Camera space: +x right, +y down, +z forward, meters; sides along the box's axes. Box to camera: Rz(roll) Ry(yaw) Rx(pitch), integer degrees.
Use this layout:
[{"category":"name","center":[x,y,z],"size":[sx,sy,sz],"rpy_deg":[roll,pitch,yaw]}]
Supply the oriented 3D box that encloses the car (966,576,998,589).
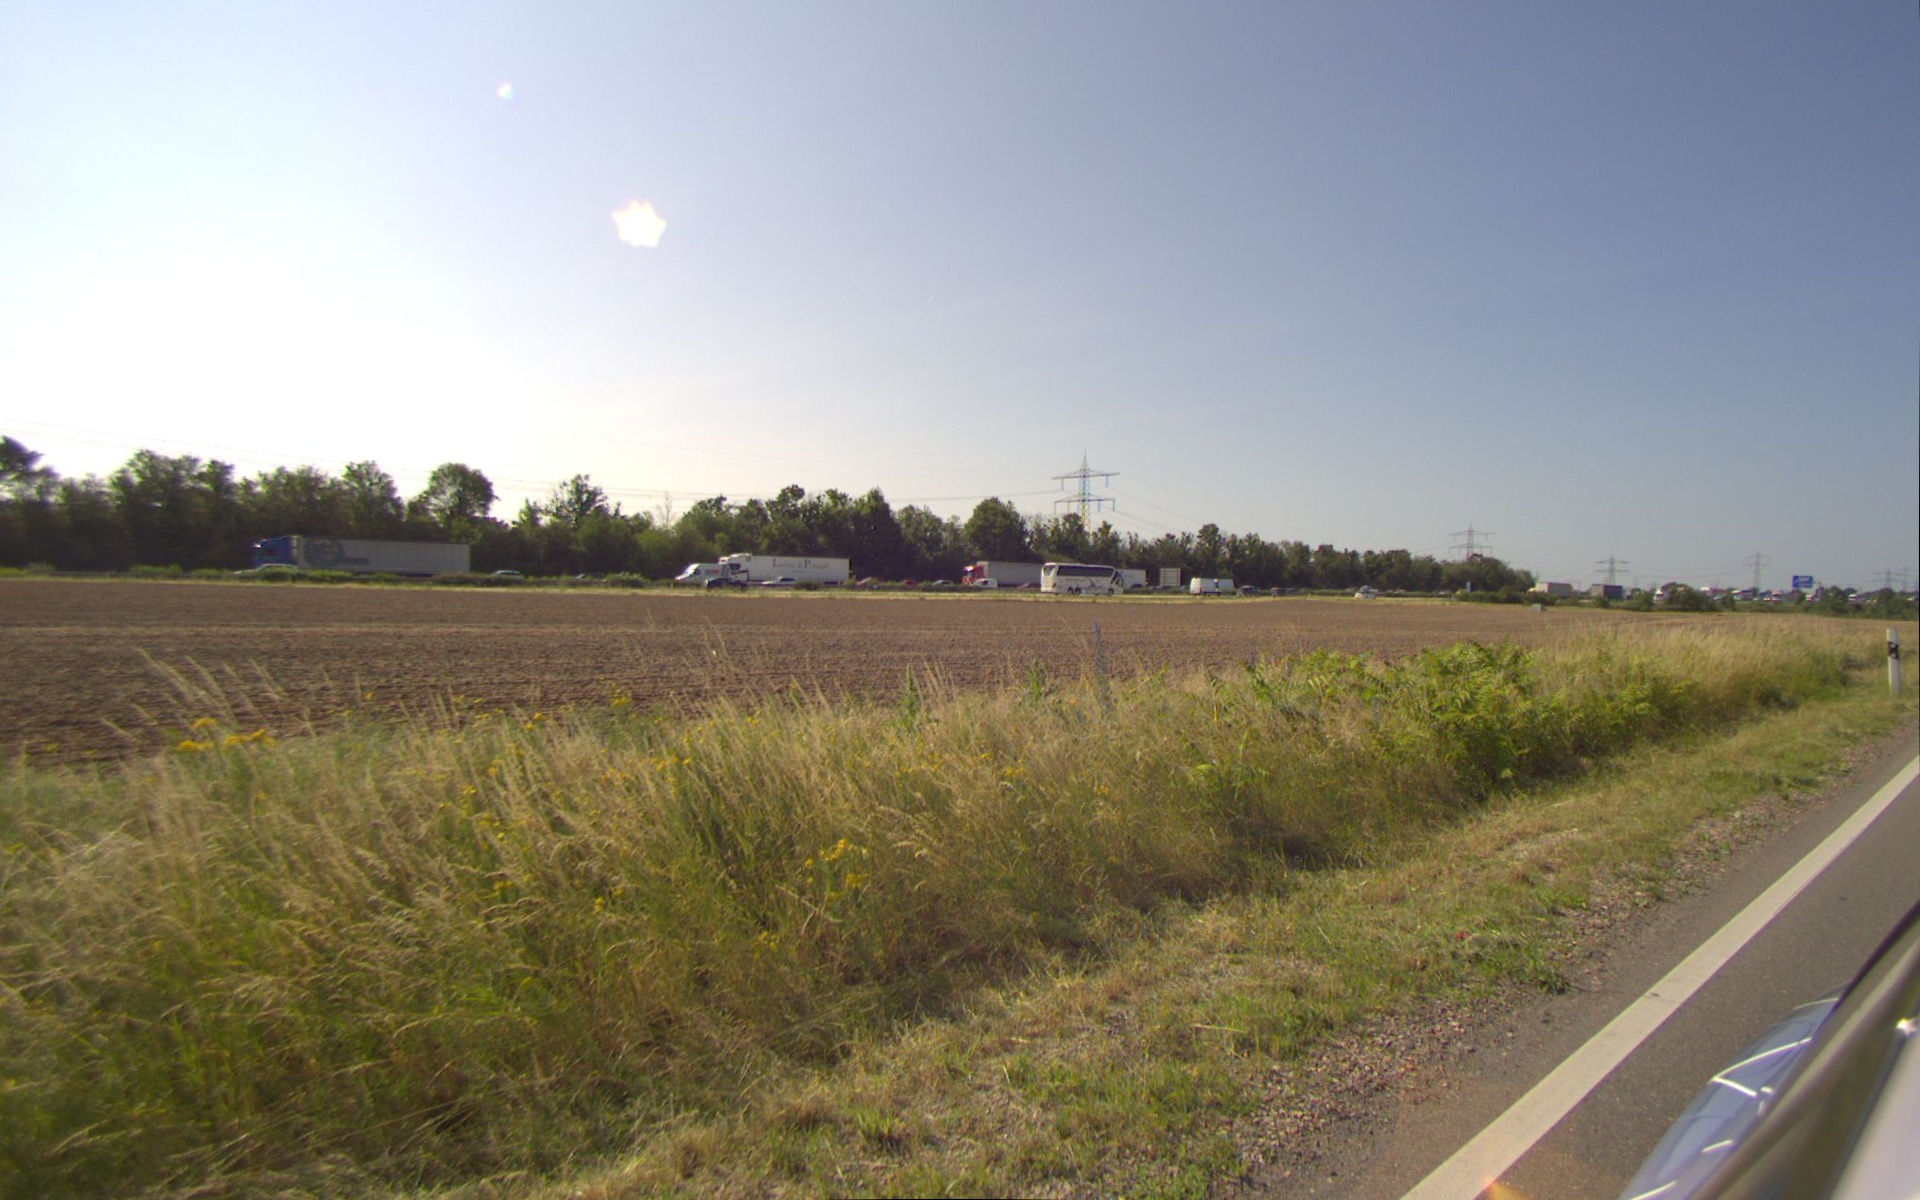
[{"category":"car","center":[2.763,-2.212,128.962],"size":[4.023,1.659,1.705],"rpy_deg":[0,0,-42]}]

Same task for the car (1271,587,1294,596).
[{"category":"car","center":[51.515,-1.319,161.486],"size":[4.022,1.391,1.706],"rpy_deg":[0,0,-41]}]

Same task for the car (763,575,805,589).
[{"category":"car","center":[-19.160,-1.995,110.540],"size":[4.174,1.403,1.853],"rpy_deg":[1,0,-42]}]

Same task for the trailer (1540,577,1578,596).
[{"category":"trailer","center":[133.389,-2.990,225.338],"size":[13.477,3.897,3.109],"rpy_deg":[0,1,-41]}]

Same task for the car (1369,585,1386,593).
[{"category":"car","center":[85.818,-2.314,207.891],"size":[4.023,1.528,1.705],"rpy_deg":[0,0,-41]}]

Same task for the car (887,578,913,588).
[{"category":"car","center":[-7.567,-2.148,128.284],"size":[3.235,1.234,1.342],"rpy_deg":[0,0,-42]}]

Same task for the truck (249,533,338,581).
[{"category":"truck","center":[-56.249,-3.555,85.412],"size":[5.978,3.780,3.078],"rpy_deg":[0,1,-40]}]

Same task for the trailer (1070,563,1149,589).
[{"category":"trailer","center":[23.019,-3.583,154.968],"size":[14.822,3.575,3.208],"rpy_deg":[0,2,-42]}]

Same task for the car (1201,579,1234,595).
[{"category":"car","center":[42.054,-2.094,165.116],"size":[6.300,2.478,2.041],"rpy_deg":[0,0,-41]}]

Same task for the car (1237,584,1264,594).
[{"category":"car","center":[42.399,-1.587,147.599],"size":[4.136,1.492,1.706],"rpy_deg":[0,0,-41]}]

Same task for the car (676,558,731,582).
[{"category":"car","center":[-26.136,-3.010,103.180],"size":[5.146,2.228,1.908],"rpy_deg":[1,-1,-42]}]

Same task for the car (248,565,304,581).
[{"category":"car","center":[-53.167,-2.071,78.702],"size":[3.518,1.166,1.397],"rpy_deg":[1,0,-41]}]

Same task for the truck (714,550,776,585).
[{"category":"truck","center":[-24.073,-3.601,113.386],"size":[6.009,3.780,3.078],"rpy_deg":[0,1,-40]}]

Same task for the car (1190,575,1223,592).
[{"category":"car","center":[36.086,-2.361,147.976],"size":[5.425,2.402,1.996],"rpy_deg":[0,0,-41]}]

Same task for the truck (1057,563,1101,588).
[{"category":"truck","center":[17.724,-3.605,150.243],"size":[6.003,3.575,3.208],"rpy_deg":[0,2,-42]}]

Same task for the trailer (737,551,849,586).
[{"category":"trailer","center":[-19.196,-3.592,117.578],"size":[13.129,3.780,3.078],"rpy_deg":[0,1,-40]}]

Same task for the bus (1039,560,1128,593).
[{"category":"bus","center":[15.898,-2.895,128.701],"size":[14.298,3.851,2.466],"rpy_deg":[1,1,-42]}]

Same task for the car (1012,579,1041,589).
[{"category":"car","center":[8.837,-2.116,134.231],"size":[3.666,1.162,1.669],"rpy_deg":[0,0,-41]}]

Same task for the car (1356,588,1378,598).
[{"category":"car","center":[68.392,-1.156,169.923],"size":[4.124,1.562,1.705],"rpy_deg":[-1,1,-41]}]

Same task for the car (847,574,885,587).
[{"category":"car","center":[-10.924,-2.265,117.914],"size":[4.174,1.403,1.853],"rpy_deg":[1,0,-42]}]

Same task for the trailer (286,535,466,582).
[{"category":"trailer","center":[-51.364,-3.550,89.482],"size":[13.387,3.780,3.078],"rpy_deg":[0,1,-40]}]

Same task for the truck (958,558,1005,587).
[{"category":"truck","center":[2.938,-3.716,137.411],"size":[5.767,3.780,2.950],"rpy_deg":[0,1,-41]}]

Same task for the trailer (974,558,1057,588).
[{"category":"trailer","center":[7.923,-3.714,141.824],"size":[13.542,3.780,2.950],"rpy_deg":[0,1,-41]}]

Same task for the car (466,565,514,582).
[{"category":"car","center":[-41.460,-2.305,89.347],"size":[3.540,1.403,1.493],"rpy_deg":[1,0,-42]}]

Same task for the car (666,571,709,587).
[{"category":"car","center":[-24.946,-1.898,92.637],"size":[3.556,1.250,1.548],"rpy_deg":[1,-2,-42]}]
